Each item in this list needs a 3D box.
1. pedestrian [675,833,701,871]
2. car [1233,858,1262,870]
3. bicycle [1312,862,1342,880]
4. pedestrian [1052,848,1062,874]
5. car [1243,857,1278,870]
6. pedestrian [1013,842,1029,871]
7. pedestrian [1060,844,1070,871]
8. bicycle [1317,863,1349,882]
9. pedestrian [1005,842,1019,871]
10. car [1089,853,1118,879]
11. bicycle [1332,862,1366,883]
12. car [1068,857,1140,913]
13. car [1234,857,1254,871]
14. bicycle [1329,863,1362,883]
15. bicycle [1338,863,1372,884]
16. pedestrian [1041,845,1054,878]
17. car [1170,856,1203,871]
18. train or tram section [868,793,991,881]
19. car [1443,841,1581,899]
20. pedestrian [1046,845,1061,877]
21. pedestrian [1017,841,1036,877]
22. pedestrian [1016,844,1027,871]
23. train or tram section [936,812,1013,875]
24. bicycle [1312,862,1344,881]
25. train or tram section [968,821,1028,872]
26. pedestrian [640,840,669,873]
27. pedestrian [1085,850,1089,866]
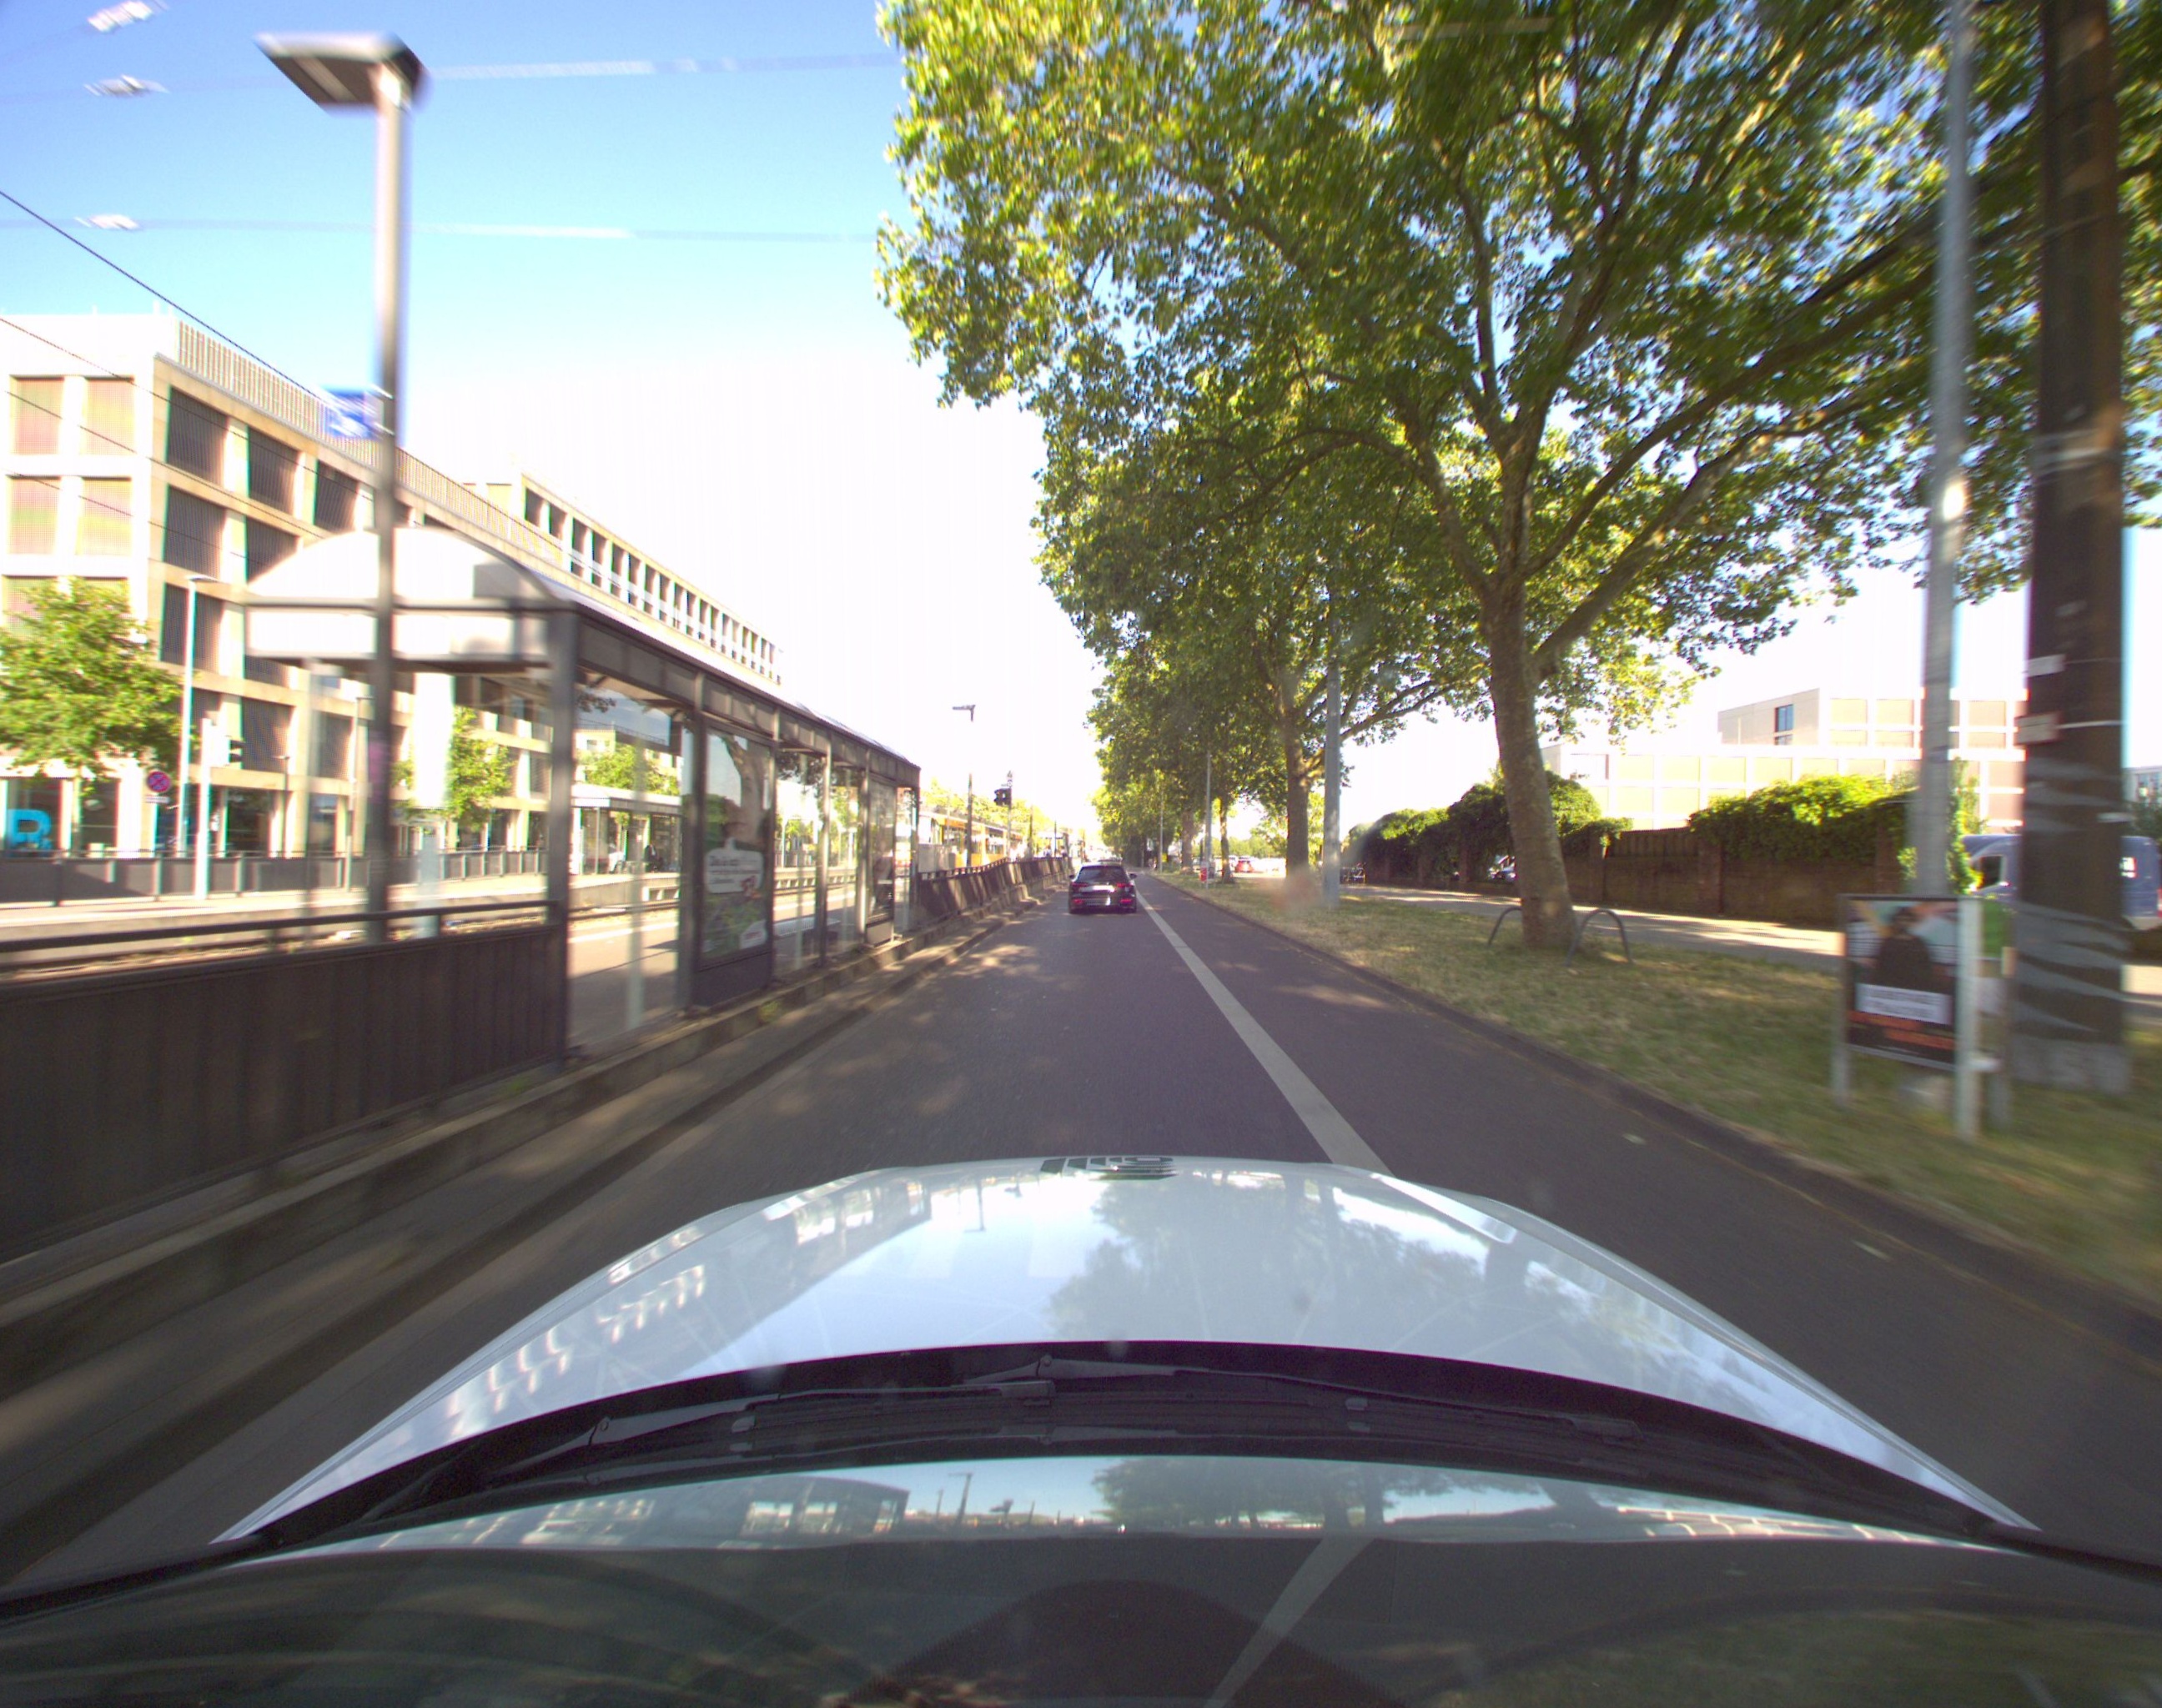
[{"bbox_3d":[-16.197,-0.091,33.594,0.610,1.527,0.726,1,-1,10],"label":"pedestrian"},{"bbox_3d":[27.641,1.650,135.507,4.340,1.816,1.998,1,0,-2],"label":"car"},{"bbox_3d":[15.285,1.072,50.594,1.767,1.120,0.439,0,-1,1],"label":"bicycle"},{"bbox_3d":[-1.681,0.463,56.794,0.607,1.784,0.681,1,-1,2],"label":"pedestrian"},{"bbox_3d":[24.364,1.286,110.610,4.436,1.658,1.921,1,0,6],"label":"car"},{"bbox_3d":[-3.756,0.182,50.960,0.799,1.784,0.642,2,-1,-38],"label":"pedestrian"},{"bbox_3d":[-1.068,0.235,54.373,0.609,1.784,0.614,1,-1,2],"label":"pedestrian"},{"bbox_3d":[14.973,1.077,48.468,1.767,1.120,0.439,0,-1,1],"label":"bicycle"},{"bbox_3d":[-4.384,0.154,51.556,0.790,1.784,0.626,1,-1,2],"label":"pedestrian"},{"bbox_3d":[1.425,0.775,53.362,1.757,1.619,3.999,1,0,0],"label":"car"},{"bbox_3d":[14.938,1.020,45.384,1.767,1.120,0.439,0,-1,1],"label":"bicycle"},{"bbox_3d":[0.605,0.819,23.138,1.872,1.457,3.356,0,0,0],"label":"car"},{"bbox_3d":[18.700,1.160,93.542,1.608,1.515,3.805,1,0,2],"label":"car"},{"bbox_3d":[15.055,1.056,46.331,1.767,1.120,0.439,0,-1,1],"label":"bicycle"},{"bbox_3d":[14.897,1.057,44.317,1.681,1.120,0.439,0,-1,1],"label":"bicycle"},{"bbox_3d":[-1.721,0.381,41.932,0.609,1.668,0.614,1,-1,4],"label":"pedestrian"},{"bbox_3d":[13.249,1.240,102.133,3.971,1.764,1.834,1,-1,2],"label":"car"},{"bbox_3d":[-7.474,-0.722,42.977,3.296,3.829,14.225,1,0,2],"label":"train or tram section"},{"bbox_3d":[20.393,0.744,38.705,5.441,2.490,2.000,2,-1,1],"label":"car"},{"bbox_3d":[-1.453,0.374,42.648,0.613,1.642,0.610,1,-1,-18],"label":"pedestrian"},{"bbox_3d":[-2.406,0.223,36.091,0.610,1.549,0.727,1,-1,12],"label":"pedestrian"},{"bbox_3d":[-3.916,0.244,53.646,0.609,1.784,0.775,1,-1,2],"label":"pedestrian"},{"bbox_3d":[-7.063,-0.627,56.030,3.296,3.829,11.848,1,0,2],"label":"train or tram section"},{"bbox_3d":[15.022,1.074,49.554,1.767,1.120,0.439,0,-1,1],"label":"bicycle"},{"bbox_3d":[-6.715,-0.573,67.926,3.296,3.829,11.848,1,0,2],"label":"train or tram section"},{"bbox_3d":[-16.227,0.093,30.994,0.611,1.260,0.725,1,-1,6],"label":"pedestrian"},{"bbox_3d":[0.683,0.422,91.194,0.410,1.717,0.666,1,-1,2],"label":"pedestrian"}]
